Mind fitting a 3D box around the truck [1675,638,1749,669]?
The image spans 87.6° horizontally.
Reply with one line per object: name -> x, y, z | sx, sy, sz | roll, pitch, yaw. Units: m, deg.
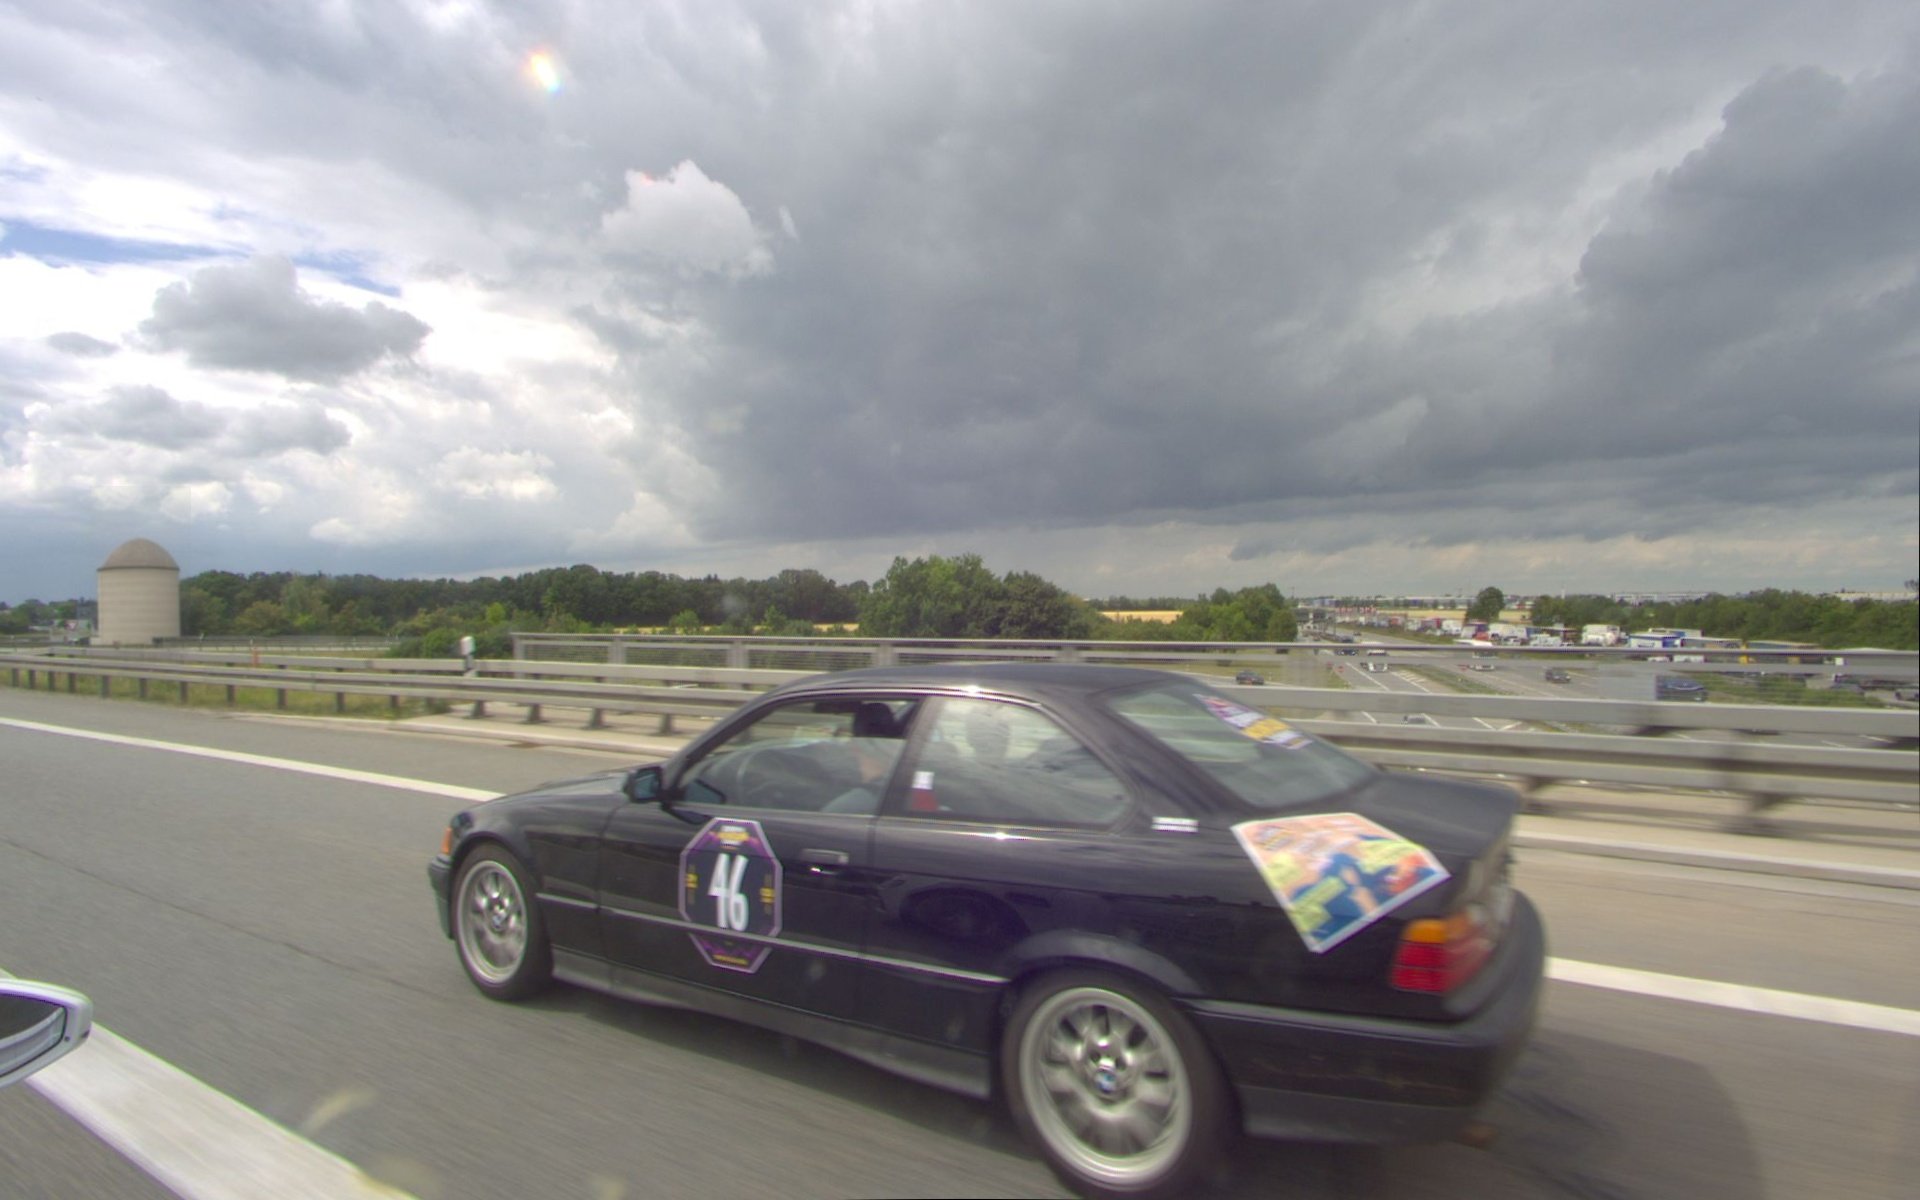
truck -> 110.621, 7.771, 147.695 | 4.069, 4.083, 14.875 | 1, -1, 18

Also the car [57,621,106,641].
car -> -97.984, 3.458, 111.754 | 1.749, 2.037, 4.005 | 2, -4, 4

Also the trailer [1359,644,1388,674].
trailer -> 64.628, 9.187, 156.810 | 2.936, 4.152, 14.230 | 1, -1, 17

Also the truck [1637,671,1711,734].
truck -> 54.892, 7.810, 77.107 | 3.076, 4.342, 5.605 | 1, -1, 18

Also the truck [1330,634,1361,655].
truck -> 79.662, 9.141, 207.328 | 3.921, 4.112, 19.030 | 0, -1, 15

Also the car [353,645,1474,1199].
car -> -0.464, 0.899, 3.993 | 4.305, 1.298, 1.700 | 0, -1, 34

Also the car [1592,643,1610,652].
car -> 116.574, 8.699, 182.190 | 1.707, 1.505, 3.995 | 0, -1, 17

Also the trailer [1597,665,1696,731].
trailer -> 57.129, 7.984, 83.838 | 3.076, 4.342, 13.932 | 1, -1, 18

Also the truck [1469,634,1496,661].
truck -> 76.334, 6.934, 146.414 | 2.451, 3.728, 5.160 | 1, 0, 16

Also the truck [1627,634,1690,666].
truck -> 116.647, 8.276, 167.604 | 4.011, 4.883, 14.474 | 1, -1, 16

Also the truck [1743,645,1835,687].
truck -> 105.470, 8.272, 127.842 | 3.937, 4.613, 15.281 | 1, -1, 19

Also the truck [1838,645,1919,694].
truck -> 98.966, 7.198, 105.739 | 3.937, 4.613, 14.864 | 1, -1, 19

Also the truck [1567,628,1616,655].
truck -> 122.936, 8.008, 195.167 | 4.011, 4.883, 15.338 | 1, -1, 16

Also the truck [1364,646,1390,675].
truck -> 62.424, 9.002, 149.859 | 2.936, 4.153, 6.520 | 1, -1, 18

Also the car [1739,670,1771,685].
car -> 93.896, 9.133, 118.365 | 1.643, 1.576, 3.994 | 0, 0, 18

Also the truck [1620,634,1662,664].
truck -> 118.660, 8.501, 174.638 | 3.997, 4.799, 6.492 | 1, -1, 15

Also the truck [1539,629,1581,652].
truck -> 130.284, 8.695, 217.546 | 4.011, 4.883, 15.338 | 1, -1, 16

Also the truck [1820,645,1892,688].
truck -> 101.314, 7.403, 113.342 | 3.862, 4.569, 6.285 | 1, -1, 19

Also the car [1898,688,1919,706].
car -> 90.258, 9.118, 93.973 | 1.707, 1.505, 3.993 | 0, -1, 19

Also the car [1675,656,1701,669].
car -> 99.502, 8.514, 136.847 | 1.707, 1.505, 3.994 | 0, -1, 18
